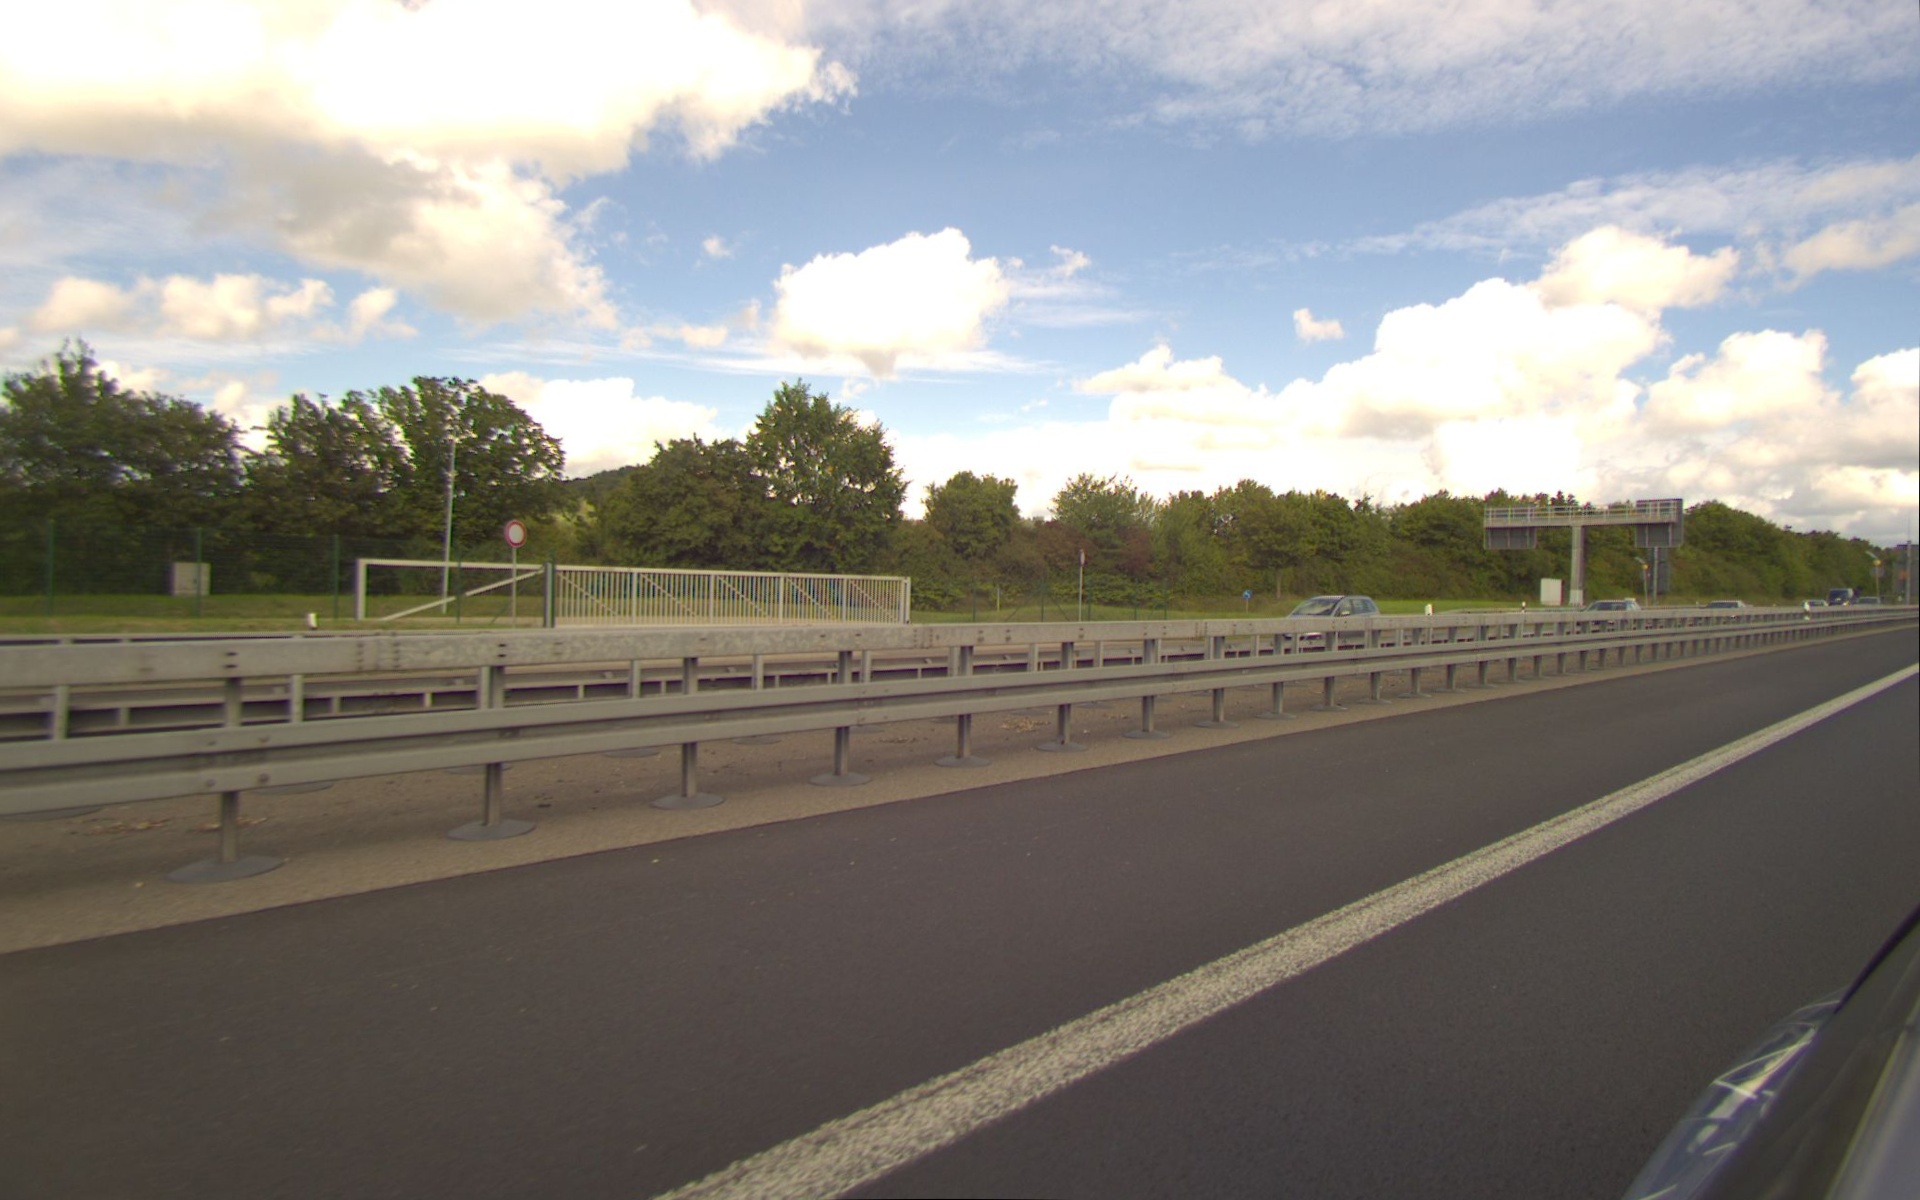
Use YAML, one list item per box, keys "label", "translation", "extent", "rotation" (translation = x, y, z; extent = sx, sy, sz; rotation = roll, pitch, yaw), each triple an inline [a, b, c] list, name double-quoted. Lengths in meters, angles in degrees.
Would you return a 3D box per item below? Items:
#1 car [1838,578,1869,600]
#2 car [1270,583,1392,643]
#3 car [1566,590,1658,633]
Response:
- label: "car"
  translation: [94.868, -1.201, 107.415]
  extent: [5.041, 2.213, 1.996]
  rotation: [-1, 2, -43]
- label: "car"
  translation: [11.813, 0.354, 32.113]
  extent: [3.931, 1.729, 1.997]
  rotation: [-1, 3, -42]
- label: "car"
  translation: [24.873, 0.396, 38.568]
  extent: [3.932, 1.503, 1.996]
  rotation: [-1, 2, -43]
